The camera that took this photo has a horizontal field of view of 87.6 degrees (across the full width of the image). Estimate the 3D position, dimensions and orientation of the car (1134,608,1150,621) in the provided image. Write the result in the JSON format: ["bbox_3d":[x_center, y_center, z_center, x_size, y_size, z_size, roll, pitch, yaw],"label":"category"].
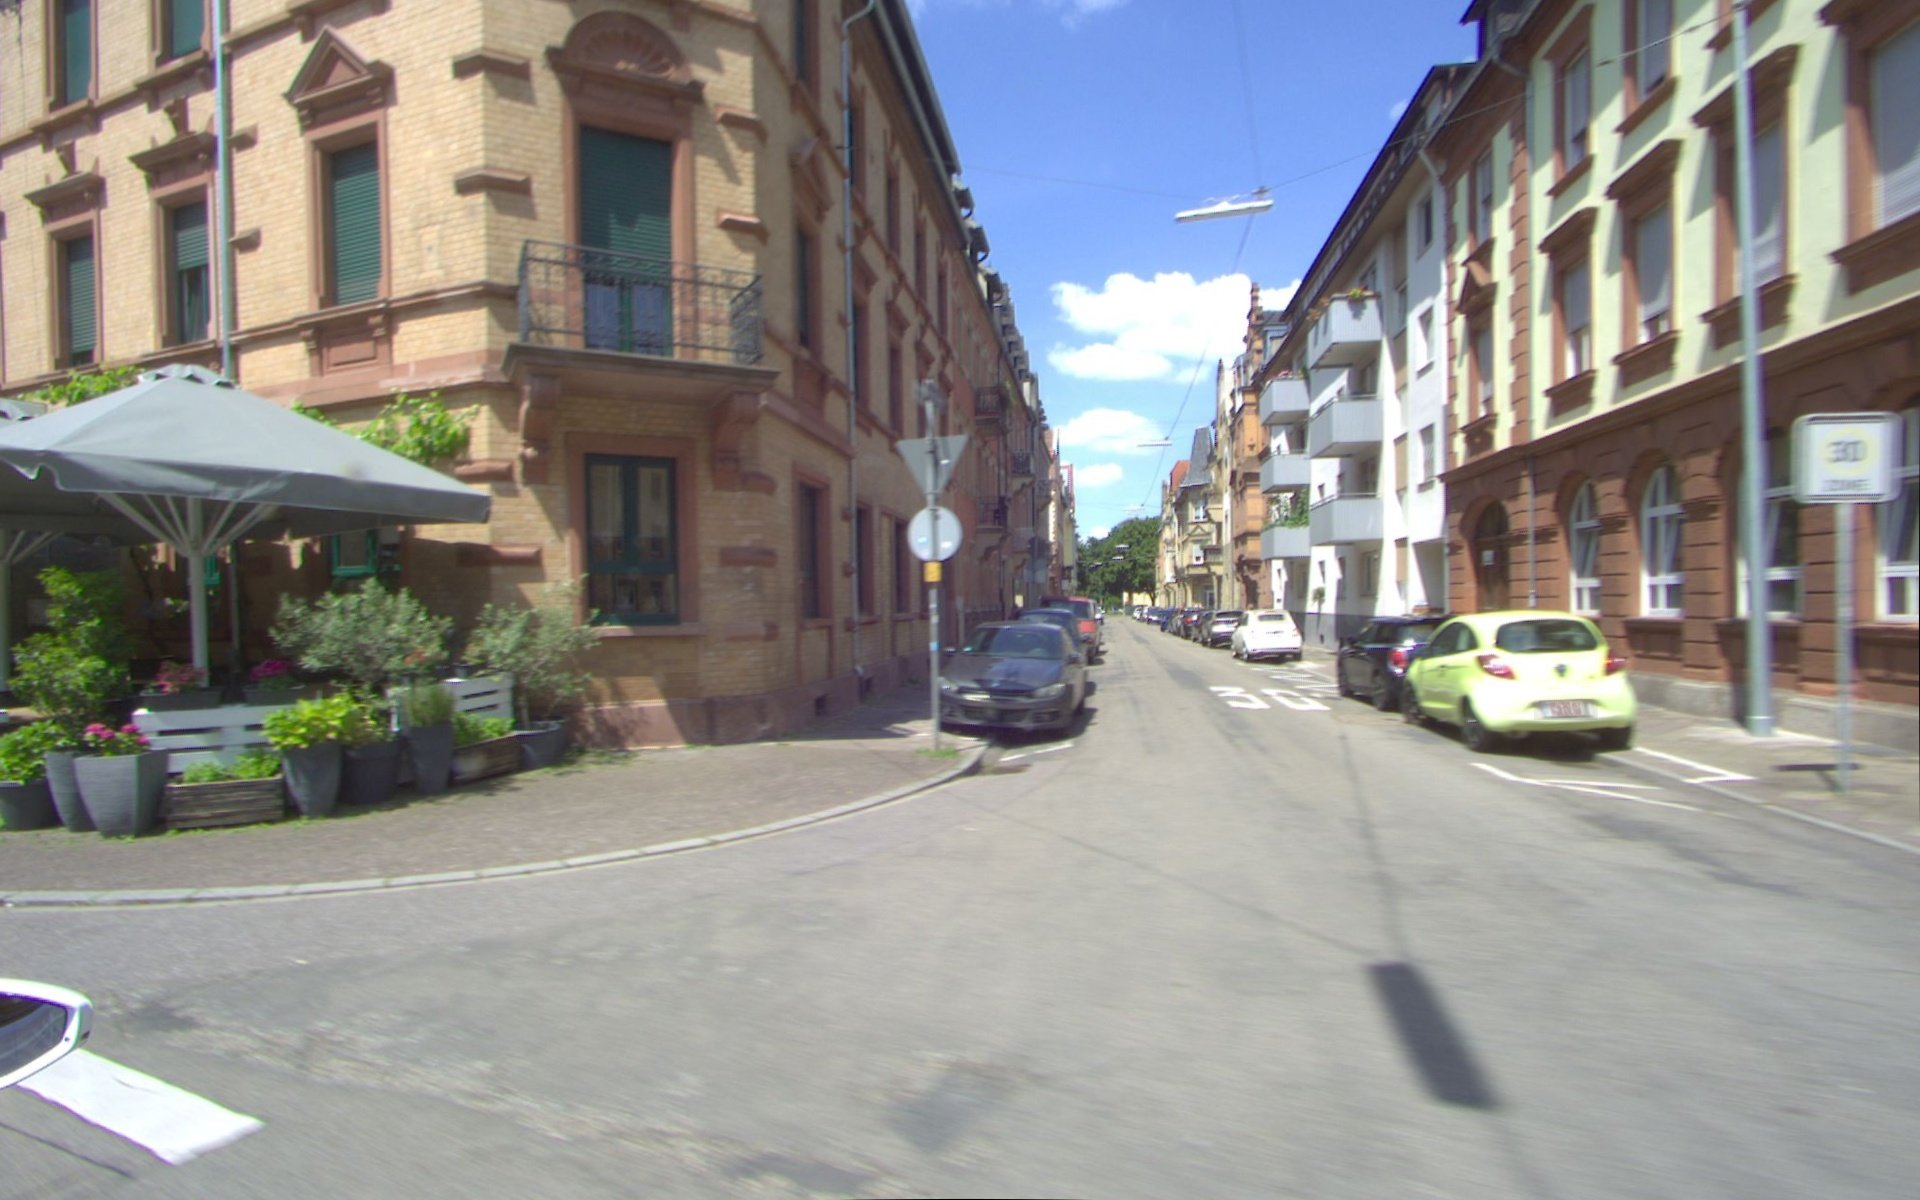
[{"bbox_3d":[21.712,1.751,119.219,1.770,1.498,3.998,-3,-1,10],"label":"car"}]

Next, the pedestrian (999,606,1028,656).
[{"bbox_3d":[1.794,1.019,33.447,0.912,1.642,0.805,0,0,8],"label":"pedestrian"}]

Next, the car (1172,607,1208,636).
[{"bbox_3d":[13.011,1.186,56.735,1.770,1.498,3.998,-3,-1,10],"label":"car"}]

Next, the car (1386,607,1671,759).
[{"bbox_3d":[6.662,0.898,12.271,1.770,1.498,3.998,-3,-1,10],"label":"car"}]

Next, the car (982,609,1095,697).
[{"bbox_3d":[1.665,0.973,19.882,1.880,1.556,4.134,0,-1,10],"label":"car"}]

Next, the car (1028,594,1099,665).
[{"bbox_3d":[3.069,0.859,30.323,1.982,1.988,4.523,0,-1,4],"label":"car"}]

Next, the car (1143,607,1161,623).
[{"bbox_3d":[19.832,1.524,103.557,1.770,1.498,3.998,-3,-1,10],"label":"car"}]

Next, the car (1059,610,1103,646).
[{"bbox_3d":[5.501,1.228,45.392,1.879,1.556,4.135,0,-1,7],"label":"car"}]

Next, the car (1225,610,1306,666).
[{"bbox_3d":[9.145,1.097,30.230,1.698,1.498,3.999,-3,-1,8],"label":"car"}]

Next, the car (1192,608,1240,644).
[{"bbox_3d":[11.534,1.153,45.320,1.770,1.498,3.998,-3,-1,10],"label":"car"}]

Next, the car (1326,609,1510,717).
[{"bbox_3d":[7.346,0.949,16.501,1.770,1.498,3.998,-3,-1,10],"label":"car"}]

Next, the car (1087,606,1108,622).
[{"bbox_3d":[13.749,1.432,99.994,1.880,1.556,4.134,0,-1,10],"label":"car"}]

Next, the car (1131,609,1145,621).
[{"bbox_3d":[23.441,1.934,131.721,1.770,1.498,3.998,-3,-1,10],"label":"car"}]

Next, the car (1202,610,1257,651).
[{"bbox_3d":[10.809,1.189,40.424,1.770,1.498,3.998,-3,-1,10],"label":"car"}]

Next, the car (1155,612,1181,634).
[{"bbox_3d":[15.492,1.676,74.626,1.770,1.498,3.998,-3,-1,10],"label":"car"}]

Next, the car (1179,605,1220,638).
[{"bbox_3d":[12.130,1.076,50.860,1.770,1.498,3.998,-3,-1,10],"label":"car"}]

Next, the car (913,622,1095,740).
[{"bbox_3d":[0.777,1.015,14.110,1.881,1.382,3.997,0,-1,13],"label":"car"}]

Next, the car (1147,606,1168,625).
[{"bbox_3d":[17.564,1.376,89.245,1.770,1.498,3.998,-3,-1,10],"label":"car"}]

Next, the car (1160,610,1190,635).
[{"bbox_3d":[14.372,1.503,67.063,1.770,1.498,3.998,-3,-1,10],"label":"car"}]

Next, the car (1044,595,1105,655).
[{"bbox_3d":[4.010,0.855,35.382,1.982,1.988,4.523,0,-1,6],"label":"car"}]
